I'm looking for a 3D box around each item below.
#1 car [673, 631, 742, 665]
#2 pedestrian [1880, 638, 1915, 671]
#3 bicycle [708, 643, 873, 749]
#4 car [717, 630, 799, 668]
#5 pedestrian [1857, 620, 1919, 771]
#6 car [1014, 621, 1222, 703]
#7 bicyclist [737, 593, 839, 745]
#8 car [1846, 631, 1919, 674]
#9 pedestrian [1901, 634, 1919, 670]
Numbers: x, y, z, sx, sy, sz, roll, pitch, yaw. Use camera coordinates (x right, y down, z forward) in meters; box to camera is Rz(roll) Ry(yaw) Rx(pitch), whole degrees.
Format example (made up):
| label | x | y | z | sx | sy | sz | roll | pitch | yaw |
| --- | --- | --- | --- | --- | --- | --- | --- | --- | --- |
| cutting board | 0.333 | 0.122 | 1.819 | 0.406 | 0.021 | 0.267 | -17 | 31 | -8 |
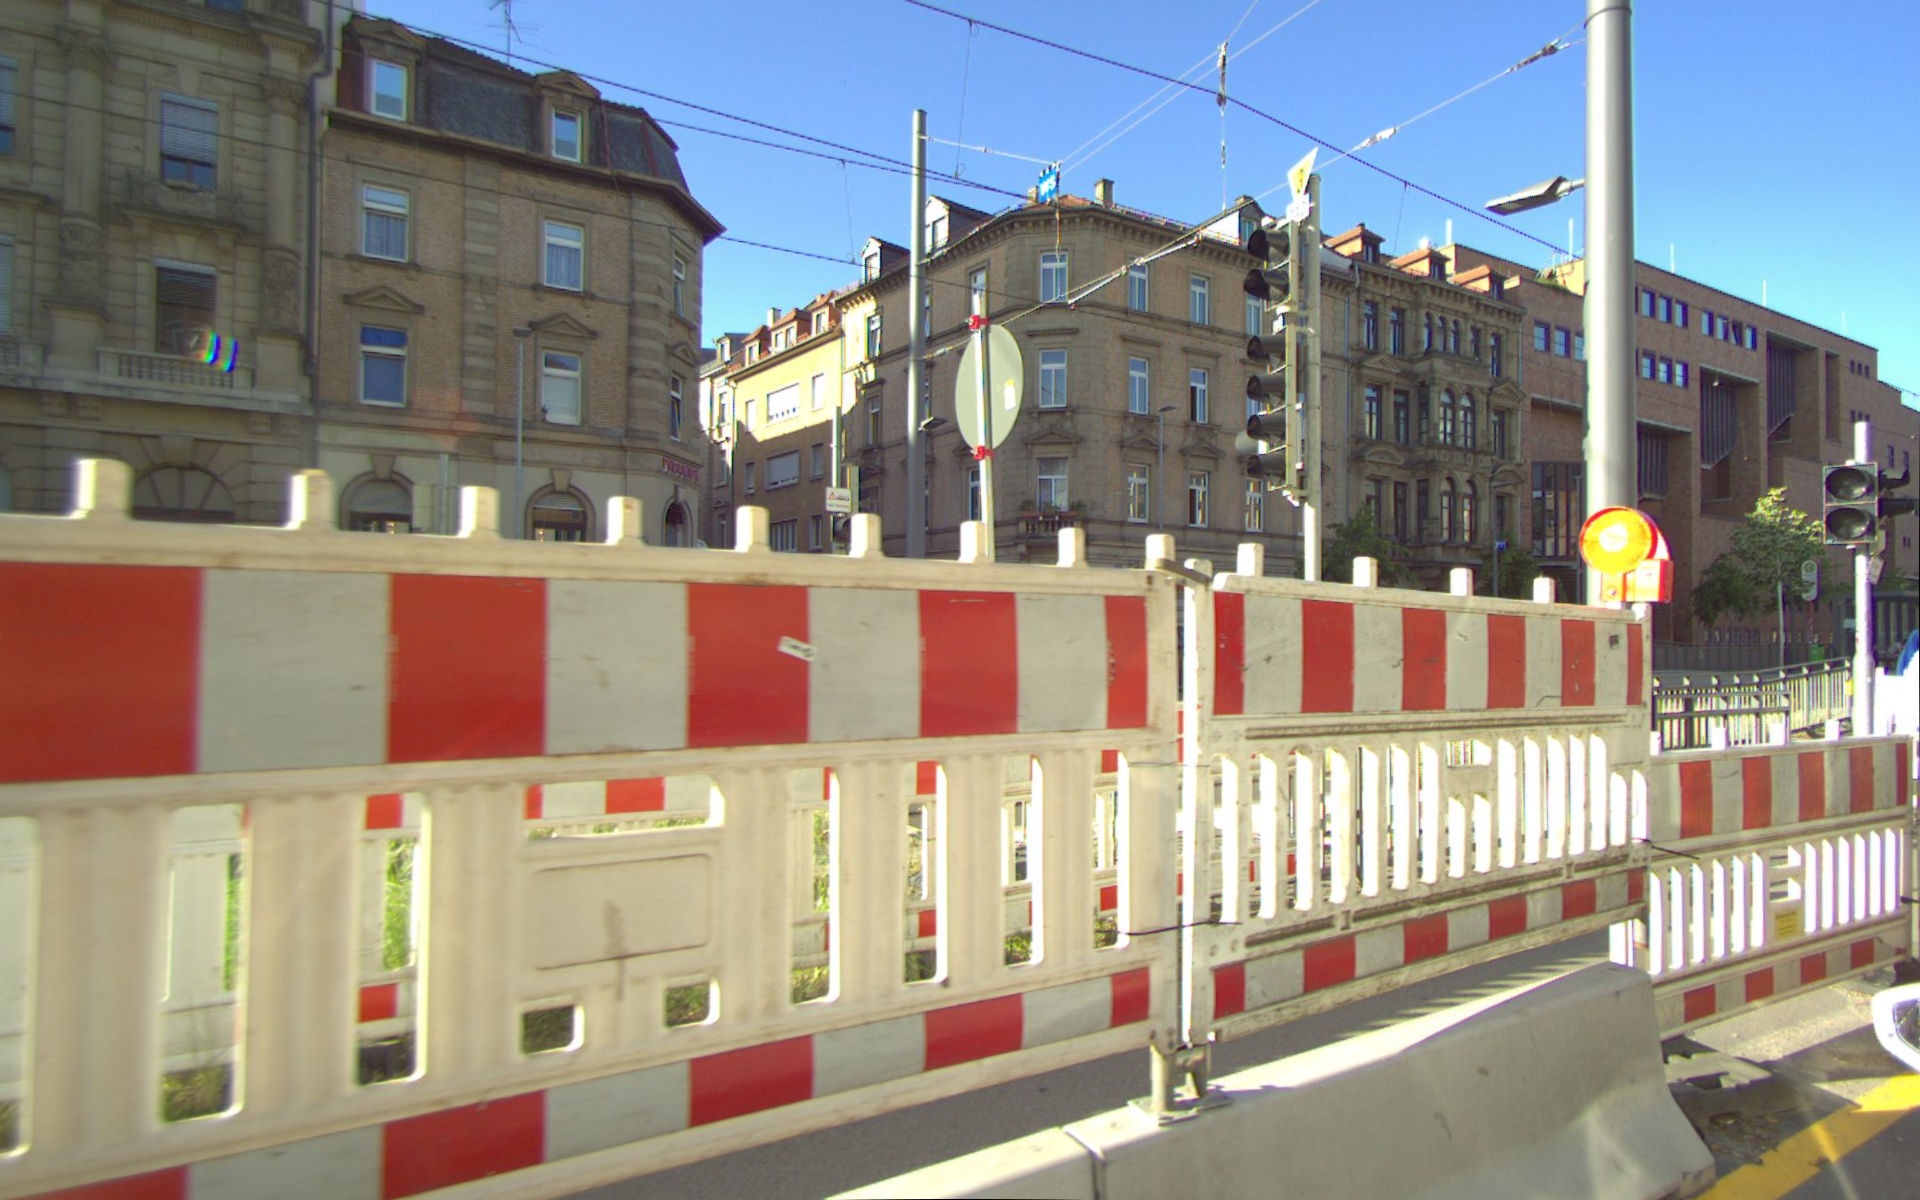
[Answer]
| label | x | y | z | sx | sy | sz | roll | pitch | yaw |
| --- | --- | --- | --- | --- | --- | --- | --- | --- | --- |
| car | -11.926 | 2.228 | 47.251 | 1.723 | 1.539 | 3.750 | 2 | -2 | -39 |
| pedestrian | 34.200 | 1.998 | 36.635 | 0.713 | 1.183 | 0.718 | 1 | -4 | -30 |
| bicycle | -2.118 | 1.144 | 12.470 | 1.964 | 1.169 | 0.854 | 0 | -2 | 34 |
| car | -8.751 | 2.065 | 43.277 | 1.812 | 1.539 | 3.955 | 2 | -2 | -39 |
| pedestrian | 9.751 | 0.949 | 10.151 | 0.936 | 1.477 | 0.785 | 2 | -2 | -32 |
| car | 3.522 | 1.332 | 22.179 | 4.423 | 1.661 | 1.788 | 2 | -2 | -30 |
| bicyclist | -2.130 | 0.829 | 12.478 | 0.870 | 1.797 | 0.854 | 0 | -2 | 34 |
| car | 42.837 | 2.404 | 46.253 | 4.535 | 1.905 | 1.982 | 2 | -2 | -33 |
| pedestrian | 35.913 | 1.966 | 37.702 | 0.713 | 1.326 | 0.643 | 1 | -4 | -30 |
